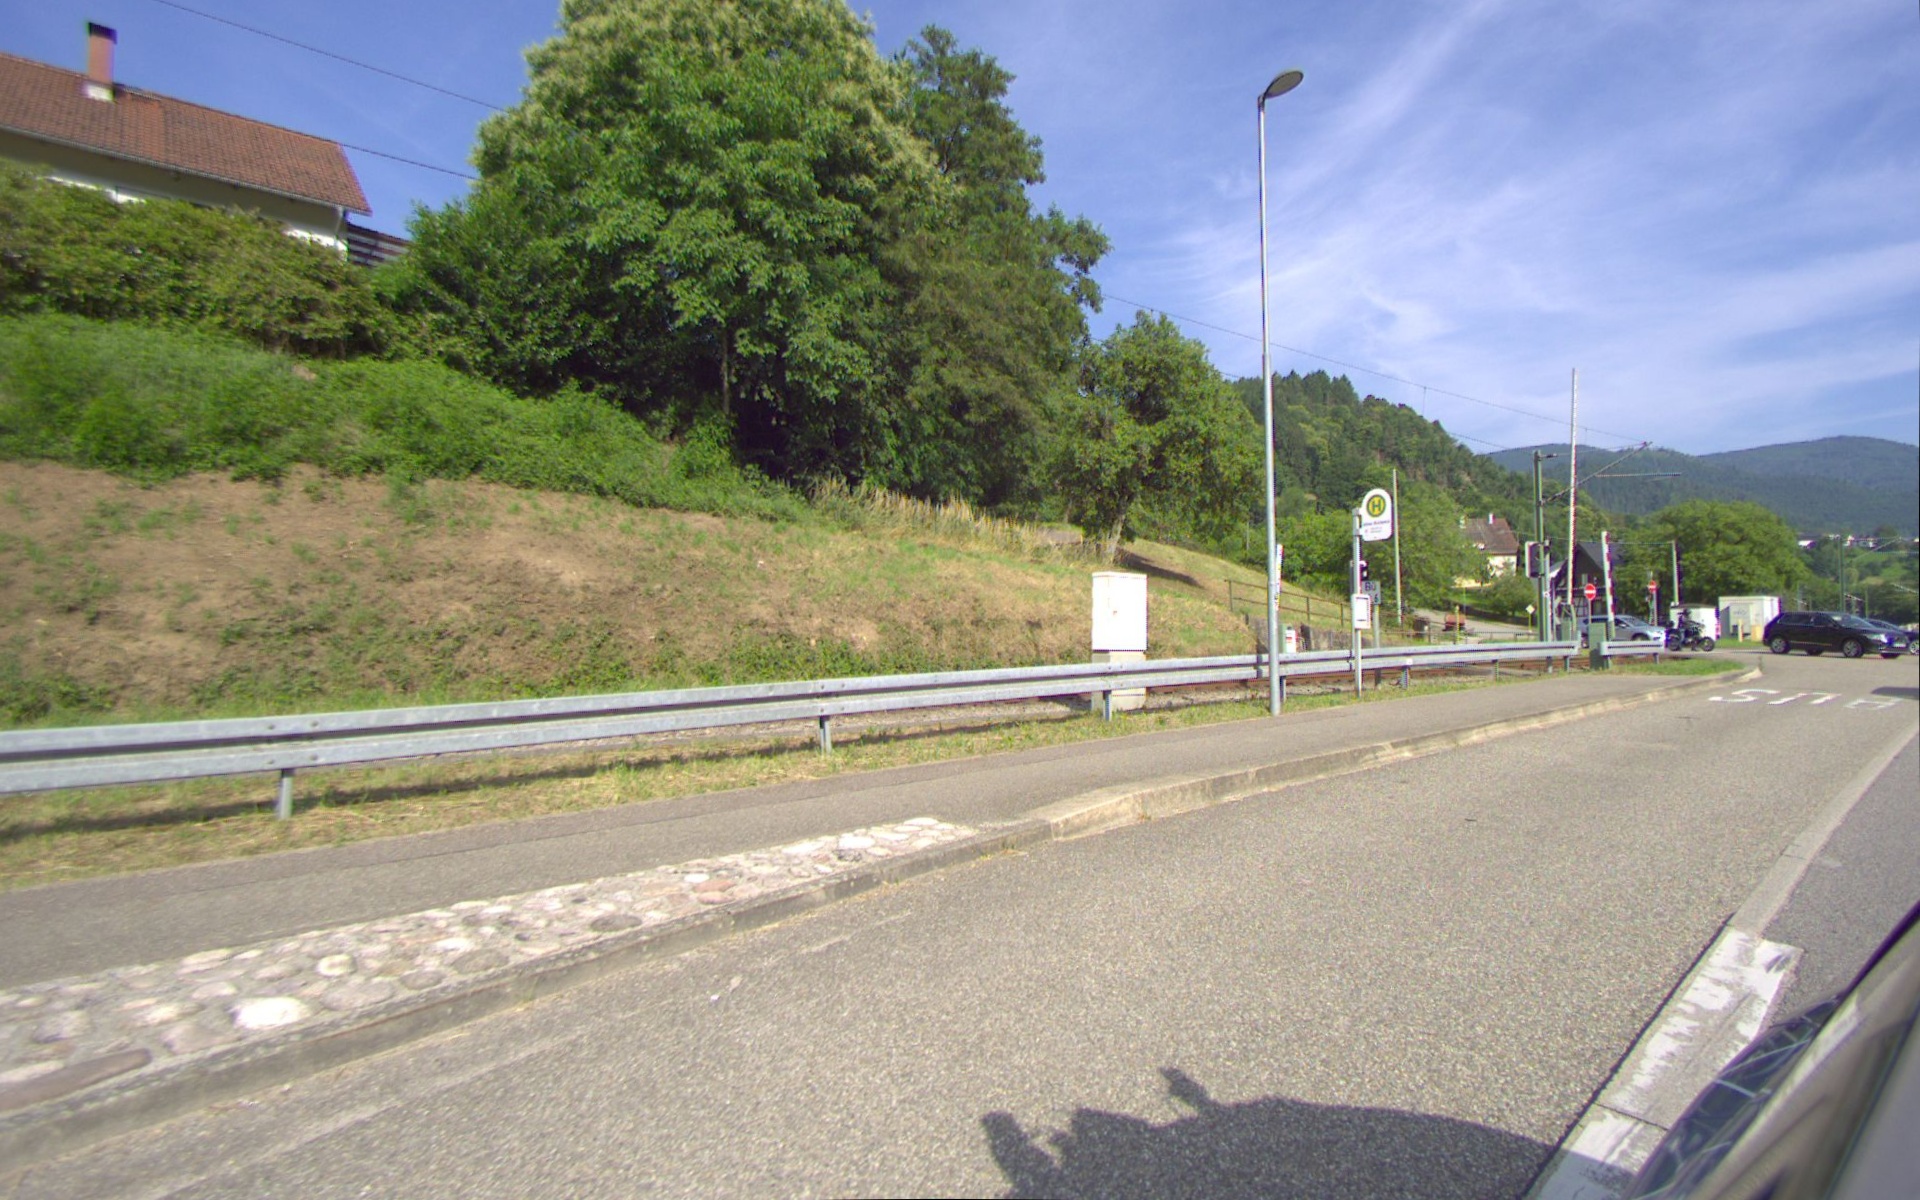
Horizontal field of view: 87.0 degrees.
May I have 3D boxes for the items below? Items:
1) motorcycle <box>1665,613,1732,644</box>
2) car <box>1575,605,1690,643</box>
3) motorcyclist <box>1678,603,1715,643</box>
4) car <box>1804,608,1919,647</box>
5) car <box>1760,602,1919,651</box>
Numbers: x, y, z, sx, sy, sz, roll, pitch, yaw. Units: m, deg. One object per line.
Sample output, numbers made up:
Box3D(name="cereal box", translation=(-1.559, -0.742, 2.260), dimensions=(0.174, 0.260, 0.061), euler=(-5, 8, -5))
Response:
Box3D(name="motorcycle", translation=(30.590, 1.196, 41.982), dimensions=(0.782, 1.271, 2.103), euler=(0, -2, -23))
Box3D(name="car", translation=(31.793, 1.172, 47.952), dimensions=(1.797, 1.709, 4.130), euler=(0, -2, -27))
Box3D(name="motorcyclist", translation=(30.581, 0.959, 42.014), dimensions=(0.749, 1.618, 0.911), euler=(0, -3, -24))
Box3D(name="car", translation=(37.084, 1.080, 40.567), dimensions=(1.808, 1.488, 4.738), euler=(1, 0, -38))
Box3D(name="car", translation=(32.175, 0.928, 36.816), dimensions=(1.890, 1.681, 4.749), euler=(1, -1, -10))
